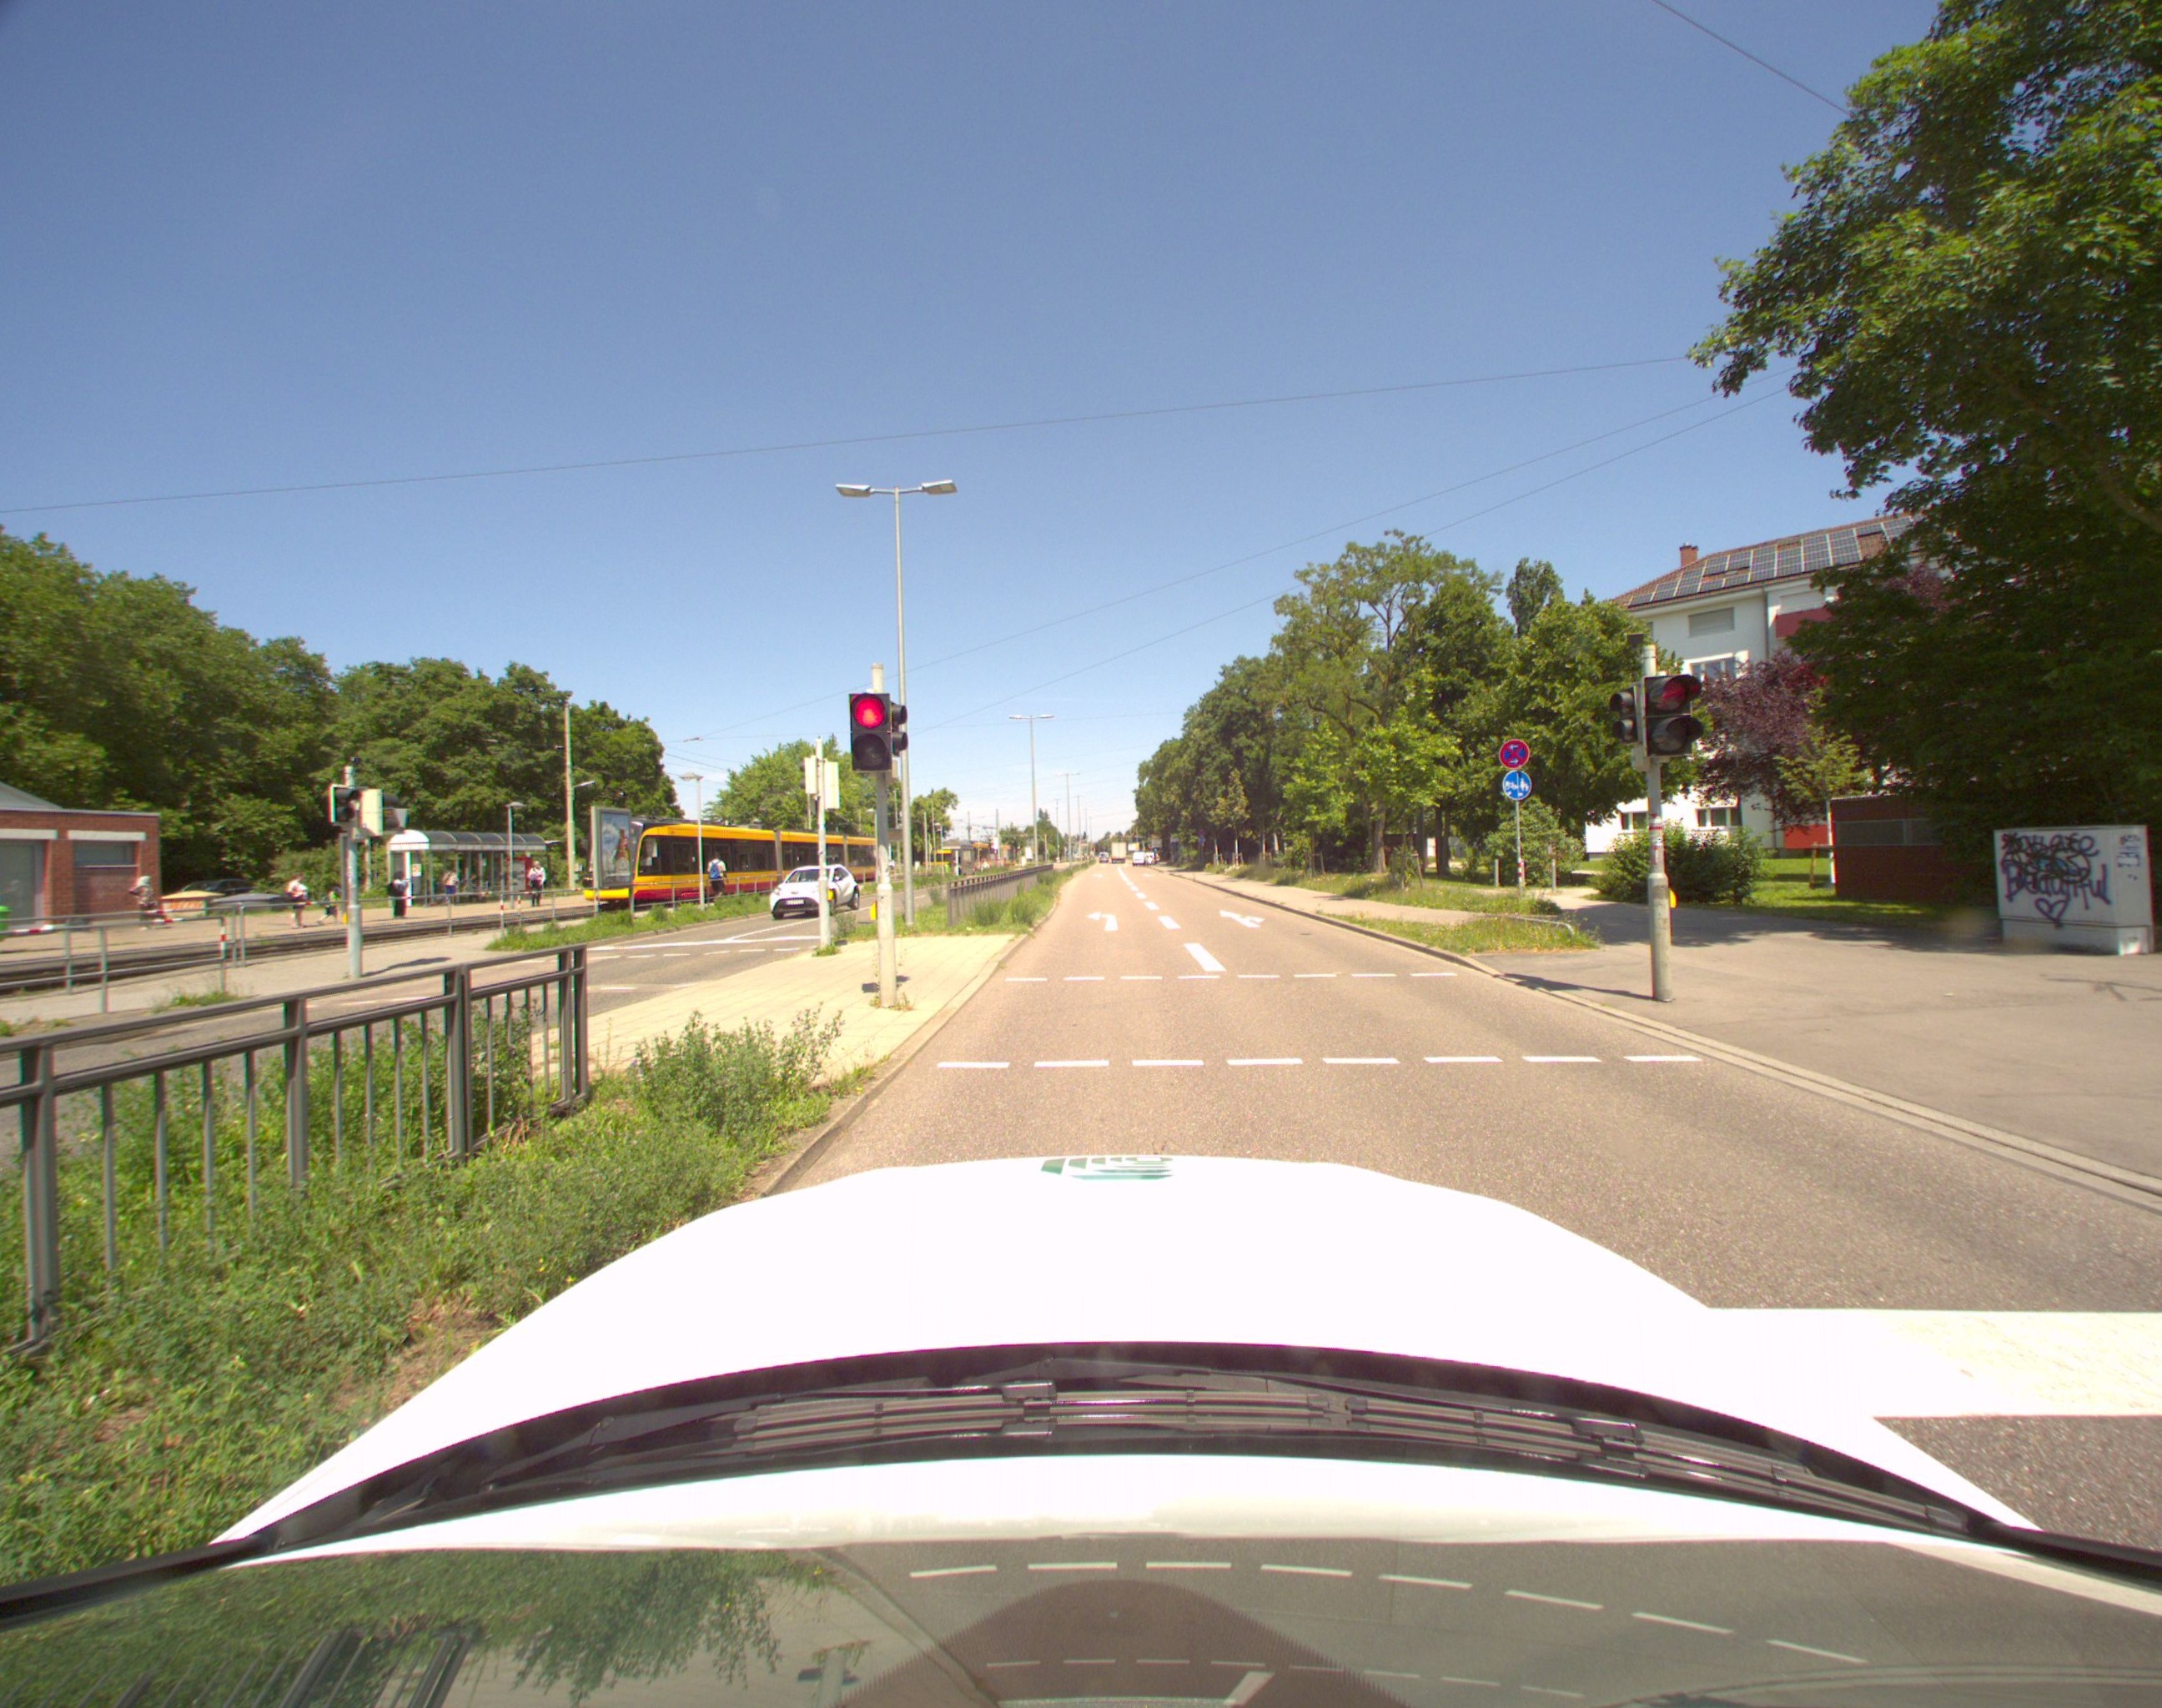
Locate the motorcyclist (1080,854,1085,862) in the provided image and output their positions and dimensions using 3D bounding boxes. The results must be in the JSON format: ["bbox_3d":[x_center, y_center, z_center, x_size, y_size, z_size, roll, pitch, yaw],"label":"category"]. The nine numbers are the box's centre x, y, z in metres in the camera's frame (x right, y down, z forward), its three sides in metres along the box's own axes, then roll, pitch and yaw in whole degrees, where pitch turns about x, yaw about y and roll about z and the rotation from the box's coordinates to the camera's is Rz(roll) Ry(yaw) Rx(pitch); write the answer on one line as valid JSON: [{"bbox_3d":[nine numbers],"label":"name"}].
[{"bbox_3d":[0.311,1.004,199.467,0.924,1.835,0.847,-2,0,-10],"label":"motorcyclist"}]

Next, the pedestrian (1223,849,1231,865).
[{"bbox_3d":[12.752,0.256,71.227,0.600,1.438,0.557,-2,0,8],"label":"pedestrian"}]

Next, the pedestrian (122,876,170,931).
[{"bbox_3d":[-25.855,1.361,22.526,0.636,1.480,0.570,-2,0,1],"label":"pedestrian"}]

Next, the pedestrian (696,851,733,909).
[{"bbox_3d":[-11.811,0.822,26.265,0.715,1.777,0.843,3,2,1],"label":"pedestrian"}]

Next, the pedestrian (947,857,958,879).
[{"bbox_3d":[-10.980,1.200,69.730,0.783,1.868,0.818,-2,0,1],"label":"pedestrian"}]

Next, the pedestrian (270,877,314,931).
[{"bbox_3d":[-22.053,1.383,22.764,0.636,1.456,0.583,-2,0,1],"label":"pedestrian"}]

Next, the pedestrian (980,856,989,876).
[{"bbox_3d":[-10.131,1.252,85.367,0.812,2.013,0.939,-2,0,1],"label":"pedestrian"}]

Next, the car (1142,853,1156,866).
[{"bbox_3d":[9.384,0.720,112.423,1.773,1.668,4.002,-2,0,2],"label":"car"}]

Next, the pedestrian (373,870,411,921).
[{"bbox_3d":[-21.656,1.284,25.603,0.635,1.555,0.691,-2,0,-11],"label":"pedestrian"}]

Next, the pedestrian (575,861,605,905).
[{"bbox_3d":[-21.215,1.248,35.185,0.715,1.777,0.843,3,2,1],"label":"pedestrian"}]

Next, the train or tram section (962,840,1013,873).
[{"bbox_3d":[-12.160,0.291,110.080,2.948,3.749,30.032,-2,0,1],"label":"train or tram section"}]

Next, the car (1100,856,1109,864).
[{"bbox_3d":[4.556,1.174,158.007,1.804,1.464,4.002,-2,0,2],"label":"car"}]

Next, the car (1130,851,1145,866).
[{"bbox_3d":[7.296,0.563,105.541,1.773,1.903,4.002,-2,0,2],"label":"car"}]

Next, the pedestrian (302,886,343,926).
[{"bbox_3d":[-22.277,1.512,23.916,0.636,1.124,0.570,-2,0,1],"label":"pedestrian"}]

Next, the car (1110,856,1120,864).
[{"bbox_3d":[6.484,1.147,153.690,1.804,1.464,4.002,-2,0,2],"label":"car"}]

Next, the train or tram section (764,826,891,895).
[{"bbox_3d":[-17.118,0.388,57.219,3.206,3.931,18.493,-2,0,-1],"label":"train or tram section"}]

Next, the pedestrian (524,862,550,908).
[{"bbox_3d":[-21.966,1.235,32.870,0.725,1.800,0.835,-1,-1,-41],"label":"pedestrian"}]

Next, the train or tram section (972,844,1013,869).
[{"bbox_3d":[-15.687,0.436,140.476,2.934,3.789,32.934,-1,0,-13],"label":"train or tram section"}]

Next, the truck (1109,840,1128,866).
[{"bbox_3d":[6.769,-0.167,146.139,3.193,4.359,6.563,-2,0,2],"label":"truck"}]

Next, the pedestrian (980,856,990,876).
[{"bbox_3d":[-9.911,1.239,84.067,0.812,2.013,0.939,-2,0,1],"label":"pedestrian"}]

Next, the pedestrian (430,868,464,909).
[{"bbox_3d":[-25.458,1.371,32.718,0.669,1.590,0.808,-2,0,1],"label":"pedestrian"}]

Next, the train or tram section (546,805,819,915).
[{"bbox_3d":[-17.503,0.226,38.933,3.203,3.931,18.510,-2,0,2],"label":"train or tram section"}]

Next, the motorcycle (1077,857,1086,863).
[{"bbox_3d":[0.170,1.417,199.385,2.183,1.406,0.845,-2,0,-10],"label":"motorcycle"}]

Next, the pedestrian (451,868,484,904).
[{"bbox_3d":[-26.283,1.369,34.897,0.836,1.511,0.723,-2,0,12],"label":"pedestrian"}]

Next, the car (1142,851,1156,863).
[{"bbox_3d":[9.906,0.463,118.763,1.773,1.668,4.002,-2,0,2],"label":"car"}]

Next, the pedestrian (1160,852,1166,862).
[{"bbox_3d":[16.389,0.650,162.896,1.180,2.013,1.214,-2,0,1],"label":"pedestrian"}]

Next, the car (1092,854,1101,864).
[{"bbox_3d":[3.323,1.100,175.334,1.986,2.013,4.002,-2,0,2],"label":"car"}]

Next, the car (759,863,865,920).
[{"bbox_3d":[-8.117,1.084,24.939,1.838,1.494,3.793,-2,0,2],"label":"car"}]
